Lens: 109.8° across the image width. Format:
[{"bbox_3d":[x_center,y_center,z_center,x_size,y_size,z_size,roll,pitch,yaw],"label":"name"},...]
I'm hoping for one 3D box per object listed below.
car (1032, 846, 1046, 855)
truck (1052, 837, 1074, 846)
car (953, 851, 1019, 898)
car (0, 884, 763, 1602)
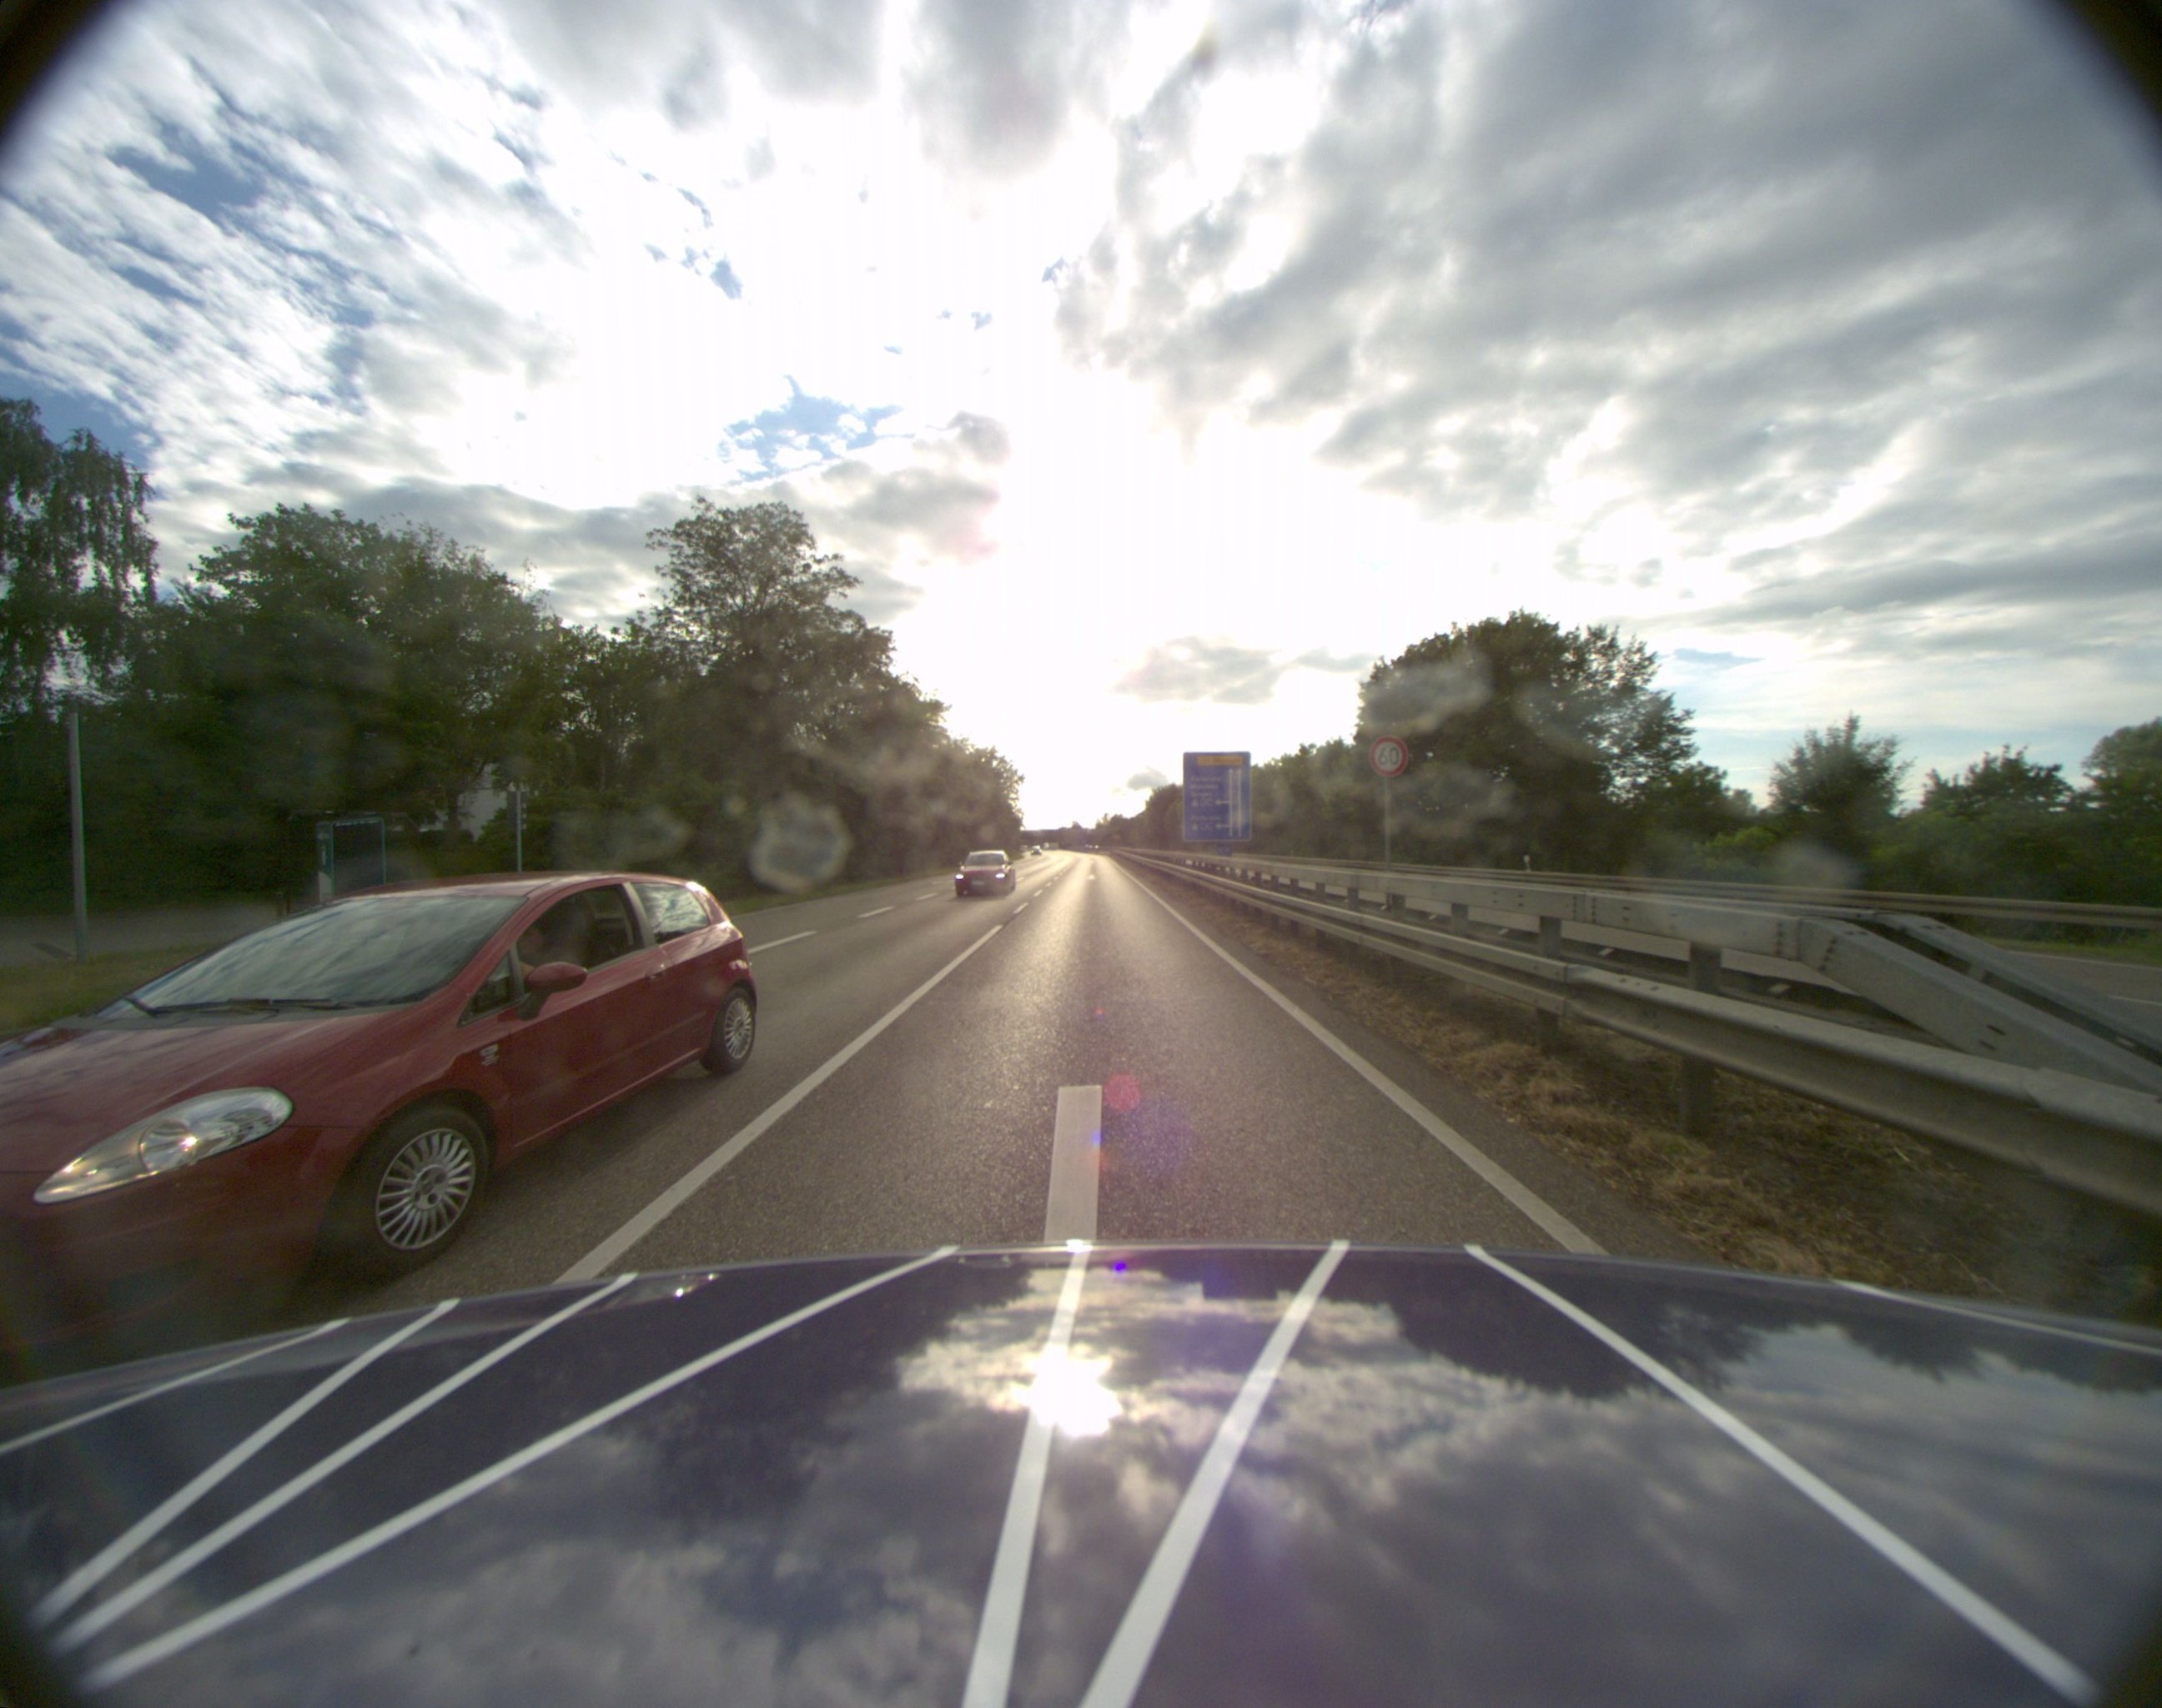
[{"bbox_3d":[-7.239,-0.692,131.466,1.998,1.486,3.999,0,1,1],"label":"car"},{"bbox_3d":[-6.208,-4.167,258.758,7.168,2.669,2.986,-3,2,-11],"label":"truck"},{"bbox_3d":[-3.149,0.638,25.984,1.700,1.408,3.999,-2,1,0],"label":"car"},{"bbox_3d":[-3.266,0.990,3.716,1.667,1.424,3.994,-2,1,0],"label":"car"}]
